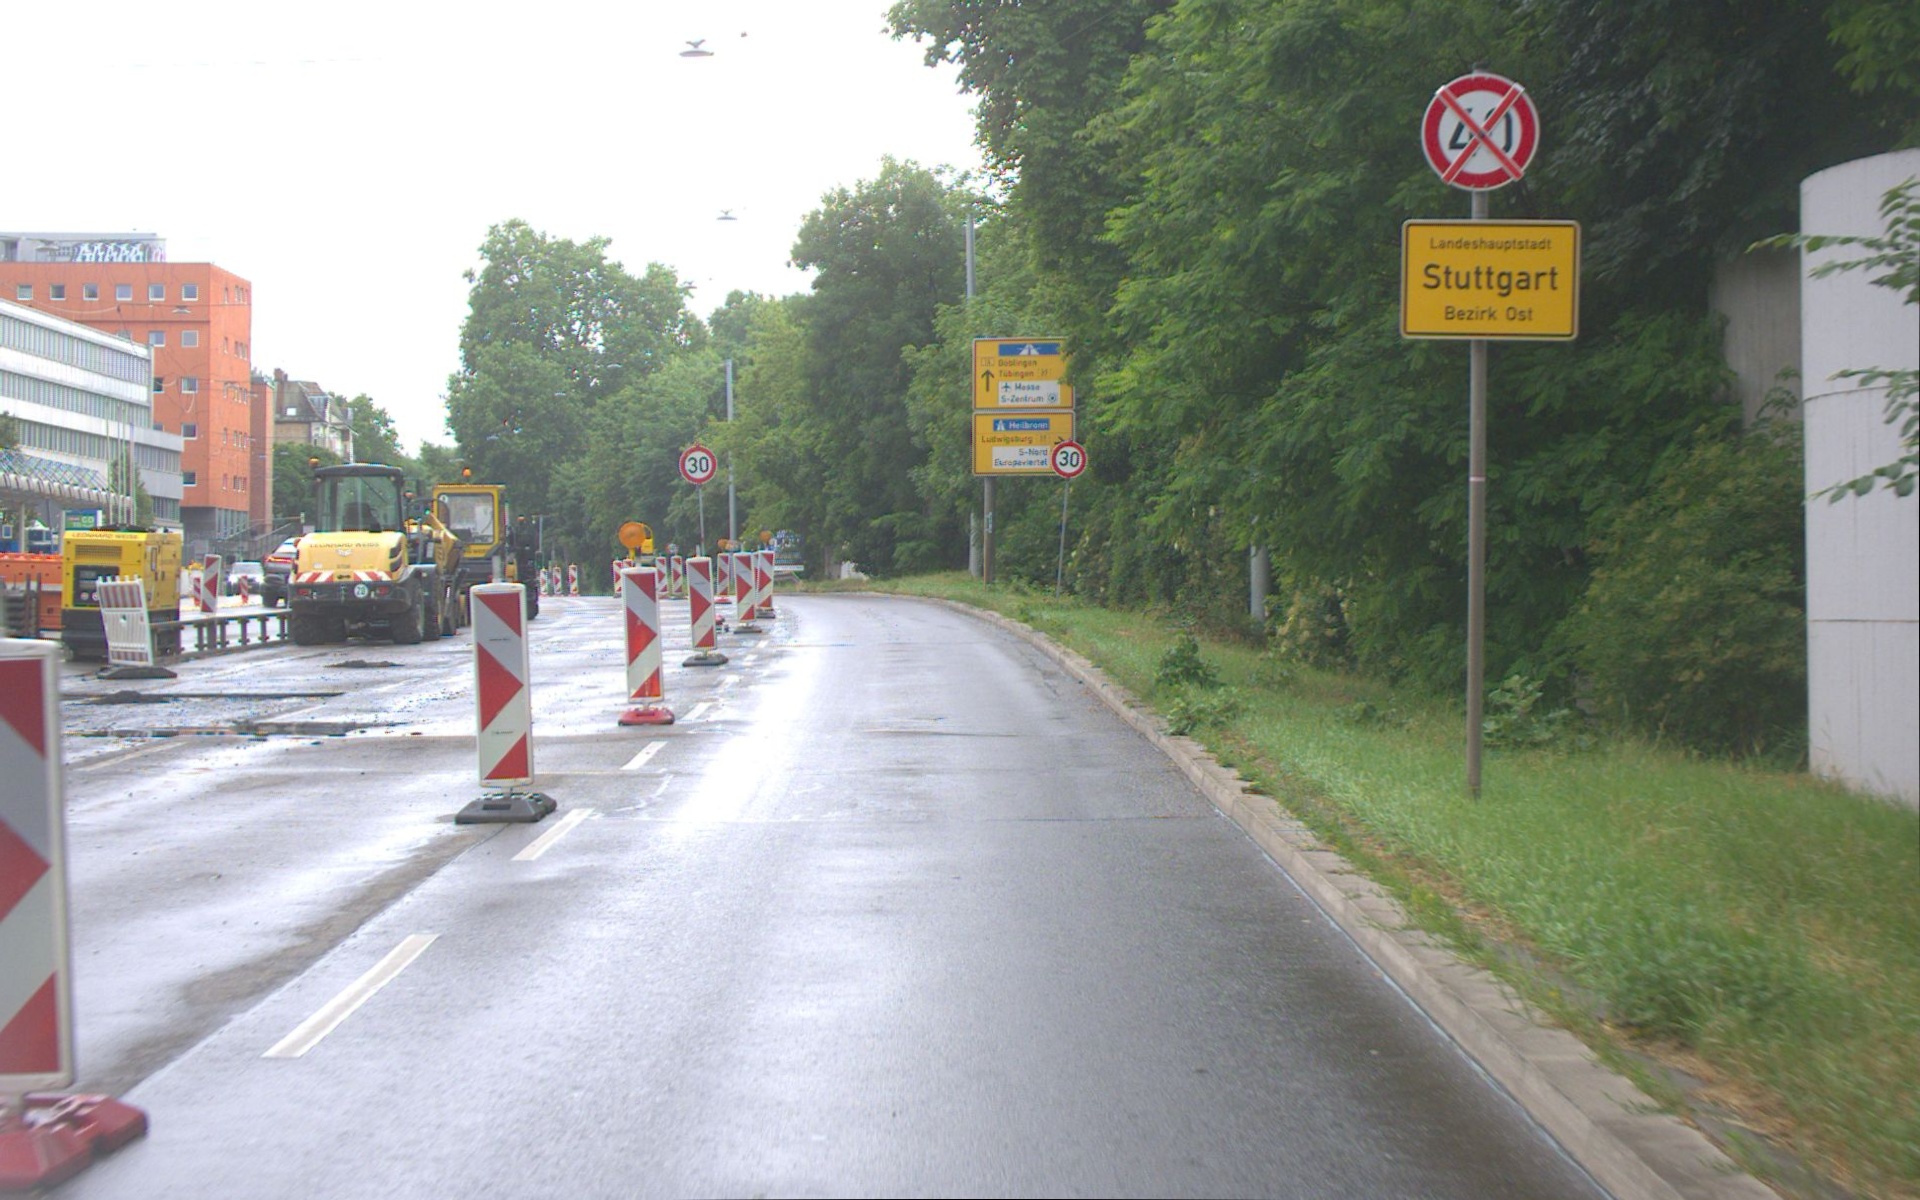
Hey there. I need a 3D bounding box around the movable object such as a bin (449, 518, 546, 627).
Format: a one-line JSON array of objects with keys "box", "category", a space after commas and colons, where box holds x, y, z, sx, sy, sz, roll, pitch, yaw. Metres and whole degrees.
[{"box": [-9.515, -0.589, 70.986, 1.715, 2.142, 3.350, -2, 1, -4], "category": "movable object such as a bin"}]

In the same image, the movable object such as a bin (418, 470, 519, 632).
[{"box": [-9.483, -0.962, 66.482, 1.465, 2.998, 3.725, -2, 1, -2], "category": "movable object such as a bin"}]

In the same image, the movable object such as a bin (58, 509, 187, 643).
[{"box": [-10.549, -0.313, 43.422, 1.083, 1.639, 2.439, 0, 1, -1], "category": "movable object such as a bin"}]

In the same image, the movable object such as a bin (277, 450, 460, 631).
[{"box": [-8.870, -0.904, 51.968, 1.902, 2.600, 5.383, 0, 1, -1], "category": "movable object such as a bin"}]

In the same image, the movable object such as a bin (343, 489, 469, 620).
[{"box": [-9.202, -0.775, 57.382, 1.362, 2.083, 5.030, 0, 1, -1], "category": "movable object such as a bin"}]
